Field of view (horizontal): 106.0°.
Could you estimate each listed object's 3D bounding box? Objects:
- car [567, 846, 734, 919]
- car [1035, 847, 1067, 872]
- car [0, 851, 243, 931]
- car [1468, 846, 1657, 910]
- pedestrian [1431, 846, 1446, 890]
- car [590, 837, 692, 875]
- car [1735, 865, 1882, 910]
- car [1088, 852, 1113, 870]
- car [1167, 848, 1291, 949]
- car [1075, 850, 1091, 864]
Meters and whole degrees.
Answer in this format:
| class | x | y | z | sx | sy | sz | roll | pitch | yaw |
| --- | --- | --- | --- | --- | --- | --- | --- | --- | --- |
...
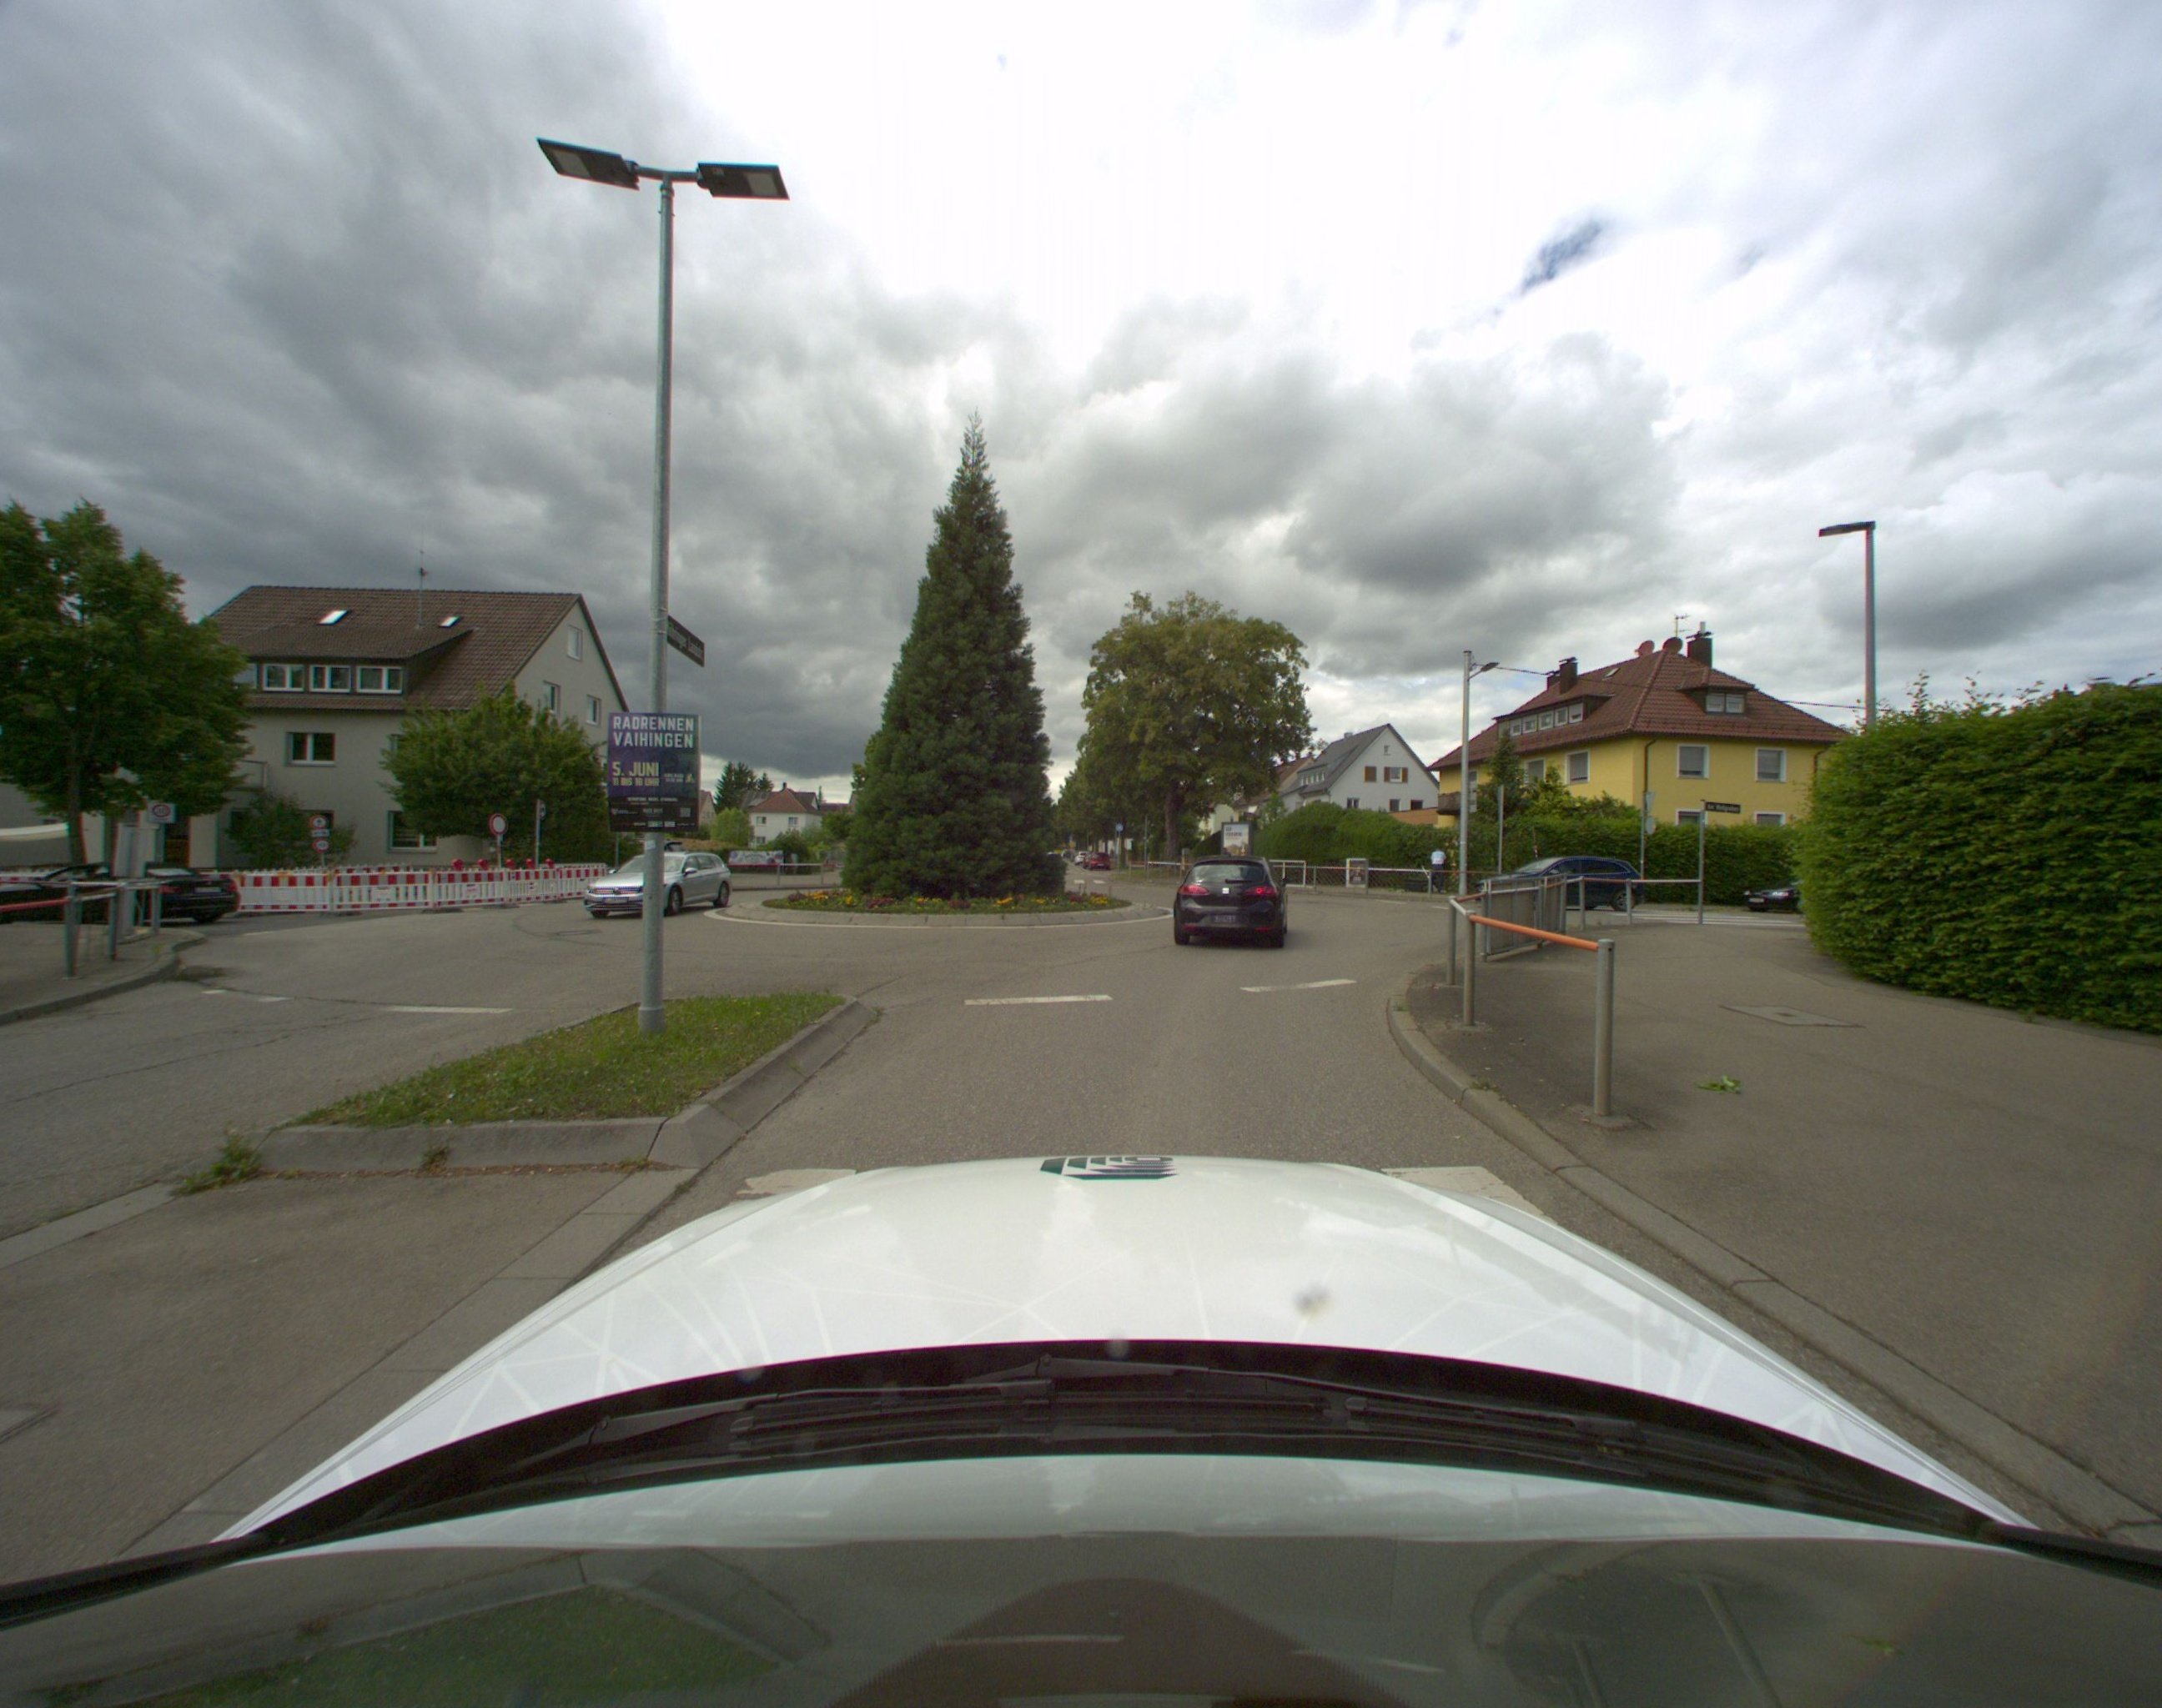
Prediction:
| class | x | y | z | sx | sy | sz | roll | pitch | yaw |
| --- | --- | --- | --- | --- | --- | --- | --- | --- | --- |
| car | -10.142 | 0.607 | 19.615 | 1.864 | 1.560 | 4.256 | 0 | 0 | -2 |
| car | -2.102 | 0.347 | 55.812 | 1.990 | 1.613 | 3.993 | 1 | 0 | -5 |
| car | -20.826 | 0.760 | 17.640 | 3.600 | 1.634 | 1.572 | 0 | 0 | -2 |
| car | 13.547 | 0.653 | 23.078 | 4.382 | 1.661 | 1.650 | 1 | 0 | 0 |
| pedestrian | 12.767 | 0.491 | 29.076 | 0.486 | 1.533 | 0.487 | 0 | 0 | 23 |
| car | -19.223 | 0.092 | 35.660 | 3.572 | 1.611 | 1.602 | 0 | 0 | 3 |
| car | 23.759 | 1.088 | 26.659 | 3.623 | 1.381 | 1.597 | 0 | 0 | -6 |
| car | 1.548 | 0.550 | 66.363 | 1.474 | 1.489 | 3.371 | 0 | 0 | -9 |
| car | 2.704 | 0.650 | 14.175 | 1.719 | 1.486 | 4.017 | 0 | 0 | 16 |
| car | 0.181 | 0.317 | 87.817 | 1.590 | 1.510 | 3.598 | 0 | 0 | -1 |
